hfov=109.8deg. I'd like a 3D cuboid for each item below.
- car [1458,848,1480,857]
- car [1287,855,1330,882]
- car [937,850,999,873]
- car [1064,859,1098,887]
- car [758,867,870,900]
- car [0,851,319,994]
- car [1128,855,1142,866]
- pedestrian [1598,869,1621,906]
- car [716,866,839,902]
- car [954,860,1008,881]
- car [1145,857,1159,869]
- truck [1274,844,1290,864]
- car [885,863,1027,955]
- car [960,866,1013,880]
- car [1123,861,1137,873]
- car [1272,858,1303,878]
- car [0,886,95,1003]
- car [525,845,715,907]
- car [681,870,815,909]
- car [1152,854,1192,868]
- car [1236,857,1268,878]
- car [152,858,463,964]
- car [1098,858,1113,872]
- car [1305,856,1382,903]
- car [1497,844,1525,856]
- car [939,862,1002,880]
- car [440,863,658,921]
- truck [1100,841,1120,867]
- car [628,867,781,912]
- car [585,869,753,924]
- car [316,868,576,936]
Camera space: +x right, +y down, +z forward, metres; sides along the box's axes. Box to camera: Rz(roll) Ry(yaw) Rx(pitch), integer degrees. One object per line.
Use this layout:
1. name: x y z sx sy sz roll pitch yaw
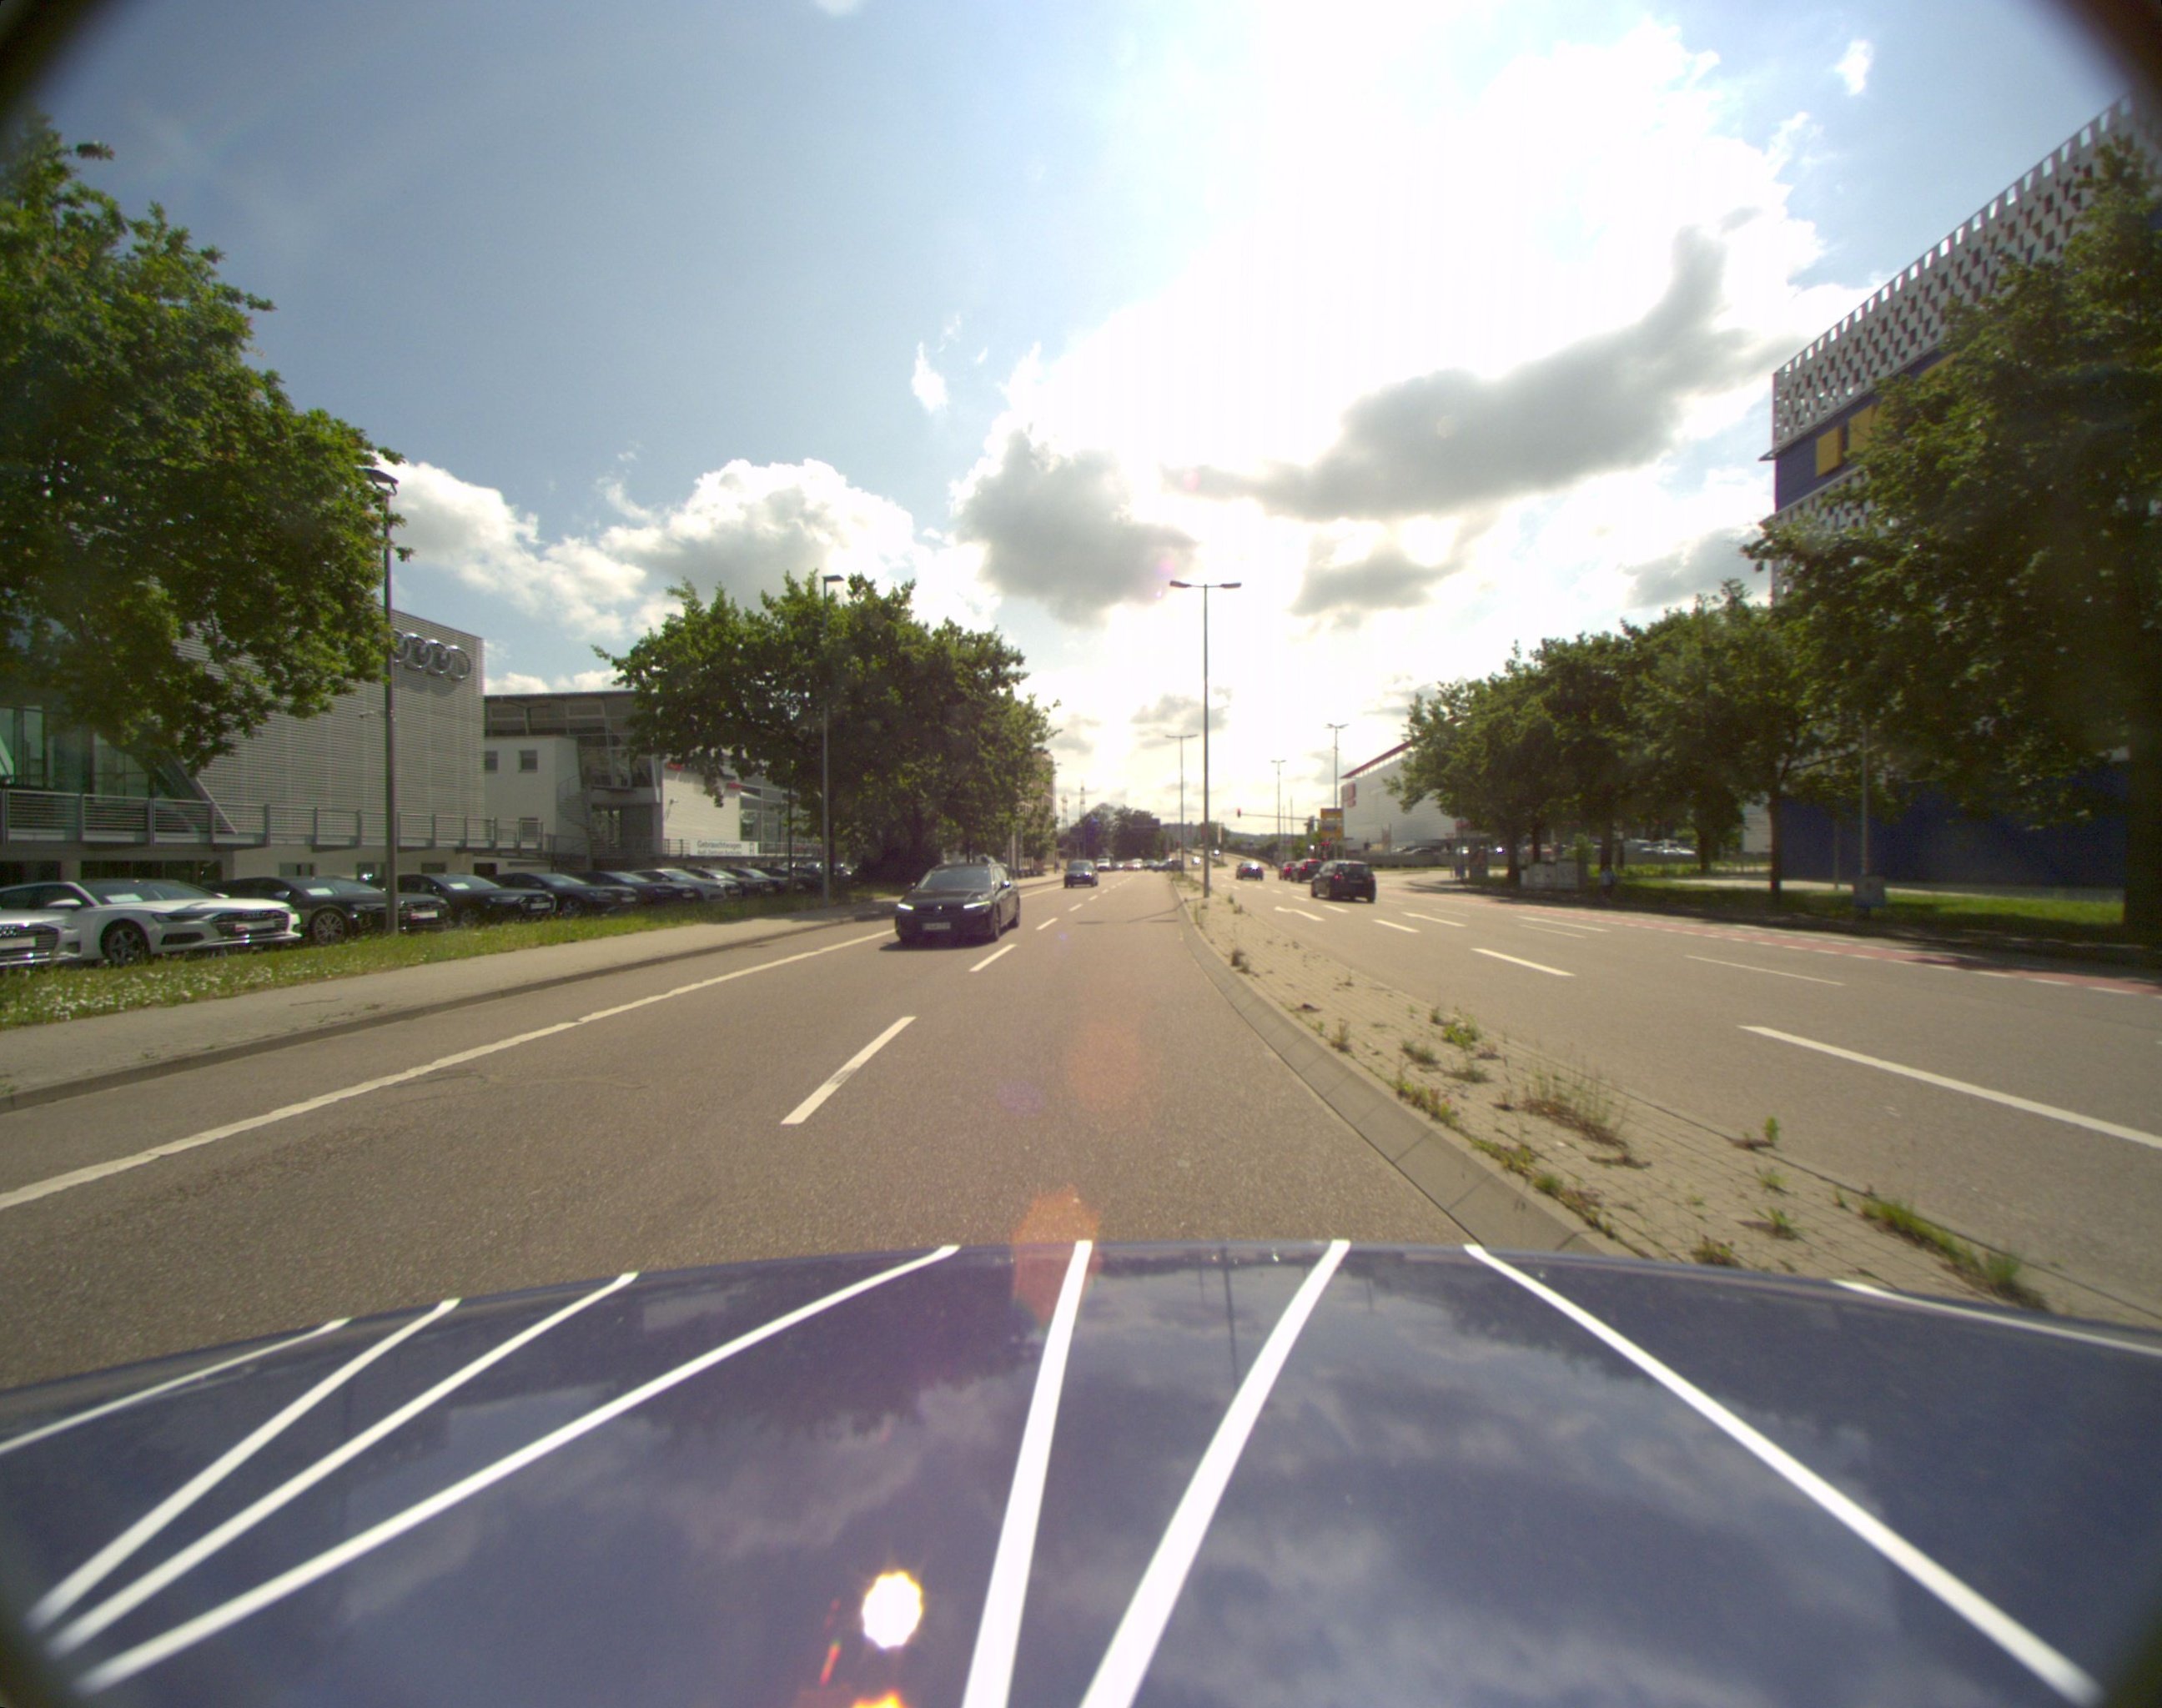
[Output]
1. car: 65.812 -0.201 128.932 1.952 1.462 4.427 -1 -1 7
2. car: 15.976 1.000 53.622 1.932 1.745 4.823 2 0 5
3. car: -13.376 0.896 90.005 6.851 2.591 2.142 -1 -2 13
4. car: 0.044 1.065 43.698 1.606 1.520 4.272 -1 -1 4
5. car: -12.485 1.365 35.714 4.584 1.490 1.908 0 0 6
6. car: -15.174 1.049 12.029 4.584 2.036 1.909 -1 -2 6
7. car: 8.392 1.069 117.803 1.825 1.616 4.216 -1 -2 8
8. pedestrian: 22.539 1.429 32.399 0.503 1.546 0.761 0 0 6
9. car: -13.172 1.280 33.093 4.584 1.490 1.908 0 0 6
10. car: -8.185 1.377 62.580 3.995 1.455 1.797 -4 0 6
11. car: 9.977 1.291 106.519 1.826 1.616 4.214 -1 -2 3
12. truck: 43.316 0.102 163.652 3.216 4.002 9.084 -1 -2 15
13. car: -2.361 0.990 15.831 1.812 1.469 5.204 -1 1 3
14. car: -8.834 1.789 71.270 4.584 1.289 1.909 -1 -2 6
15. car: 6.813 1.806 106.304 1.826 1.616 4.214 -1 -2 3
16. car: 16.321 1.050 60.196 1.689 1.474 4.127 2 0 6
17. car: -15.341 1.138 9.470 4.115 1.396 1.819 0 0 6
18. car: -13.603 0.668 22.572 4.584 1.667 1.909 -1 -2 6
19. car: -13.288 1.396 30.465 4.584 1.490 1.908 0 0 6
20. car: 10.250 0.832 85.324 4.276 1.521 1.604 0 0 -29
21. car: 13.125 1.014 58.580 1.777 1.539 4.823 2 0 5
22. car: -14.760 1.076 14.627 4.356 1.503 1.787 -6 -2 6
23. car: 3.472 1.514 107.282 1.998 1.826 4.995 -1 -2 3
24. car: 10.255 0.940 30.003 1.741 1.600 4.243 3 0 4
25. car: 68.948 -0.689 121.971 1.916 1.739 4.189 -1 -2 -4
26. car: -8.731 1.355 60.196 4.584 1.289 1.909 -1 -2 6
27. car: -14.006 1.004 20.141 4.584 1.396 1.909 -1 -2 6
28. truck: 4.419 0.074 115.363 2.672 3.533 9.789 -1 -2 4
29. car: -13.456 1.248 27.295 4.584 1.490 1.908 0 0 6
30. car: -13.490 1.380 25.039 4.584 1.667 1.909 -1 -2 6
31. car: -14.468 1.083 17.460 4.584 1.396 1.909 -1 -2 6
